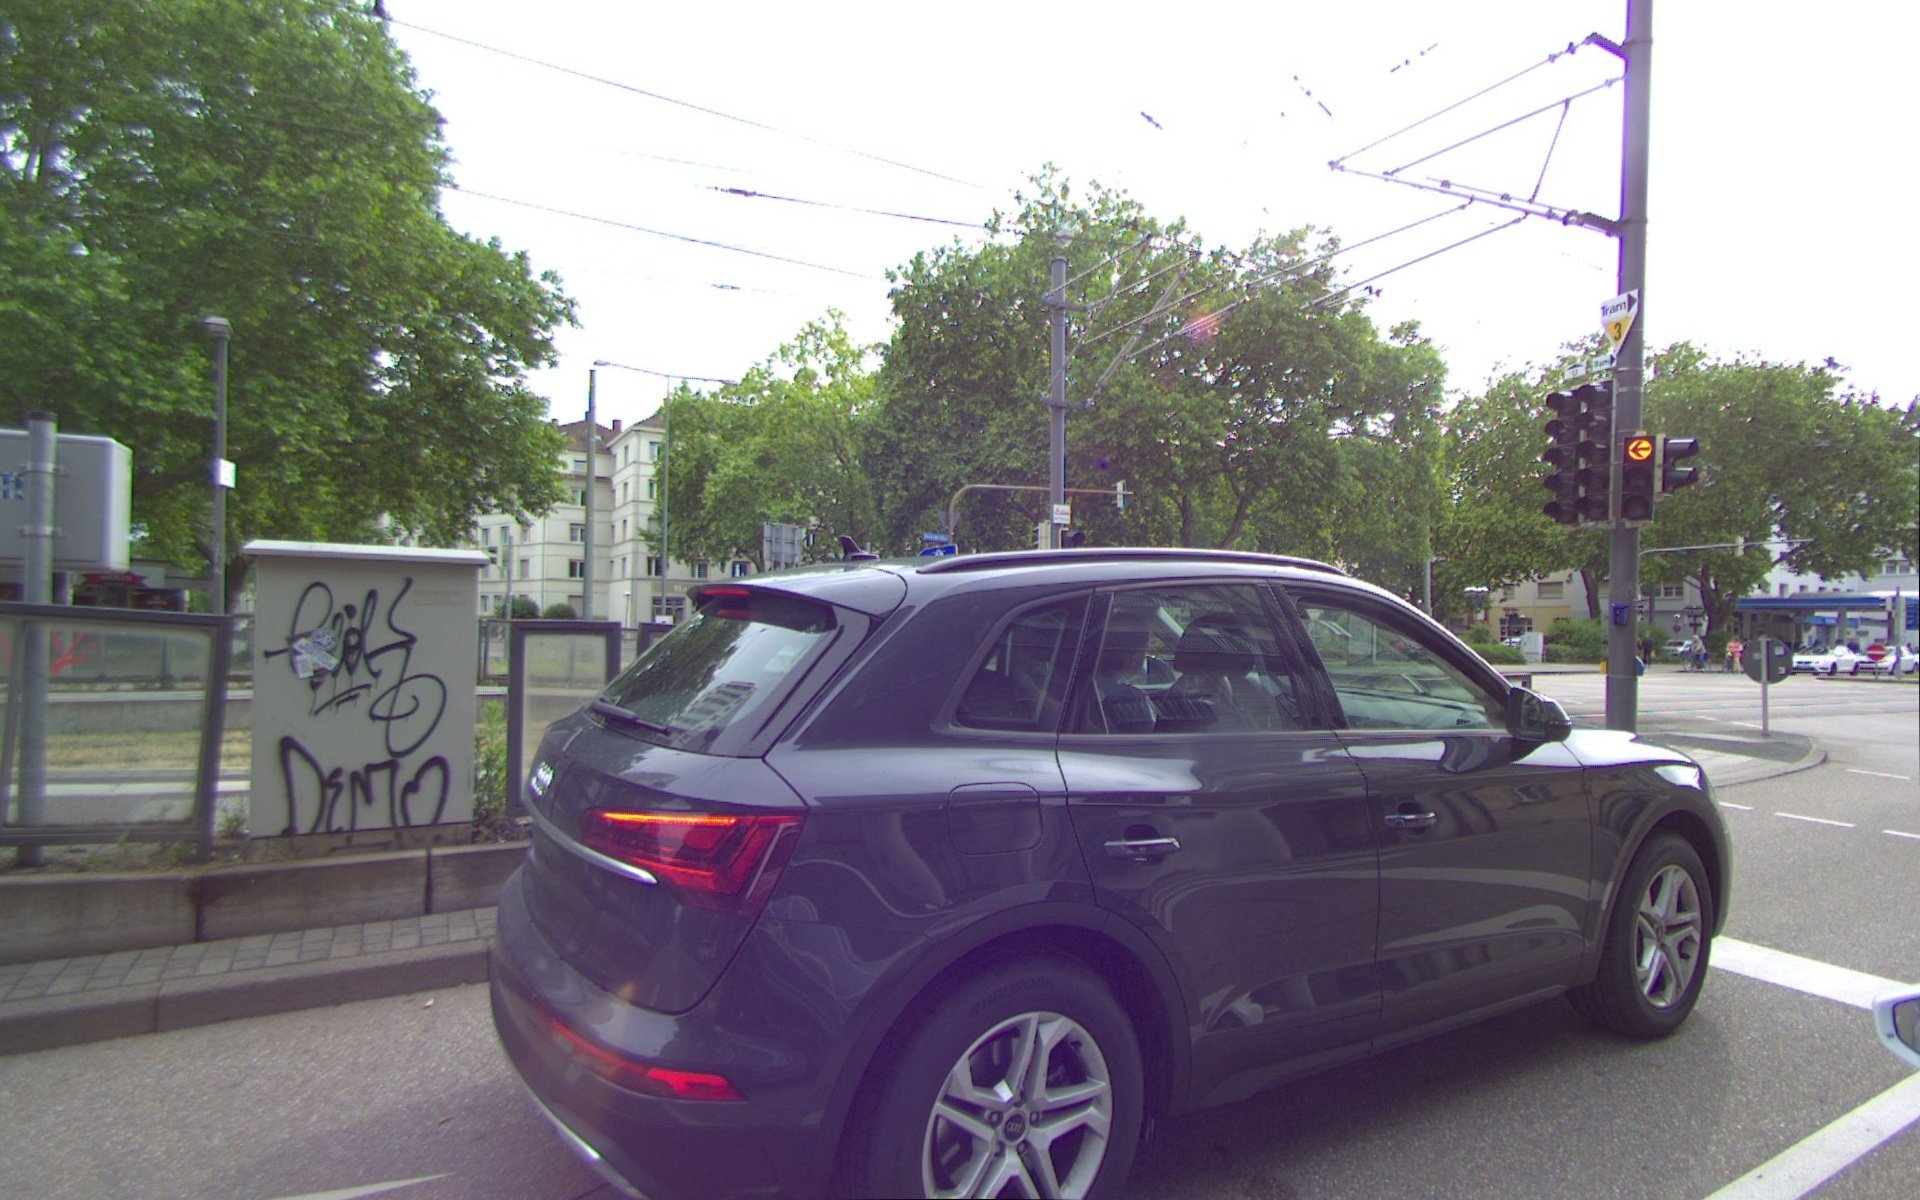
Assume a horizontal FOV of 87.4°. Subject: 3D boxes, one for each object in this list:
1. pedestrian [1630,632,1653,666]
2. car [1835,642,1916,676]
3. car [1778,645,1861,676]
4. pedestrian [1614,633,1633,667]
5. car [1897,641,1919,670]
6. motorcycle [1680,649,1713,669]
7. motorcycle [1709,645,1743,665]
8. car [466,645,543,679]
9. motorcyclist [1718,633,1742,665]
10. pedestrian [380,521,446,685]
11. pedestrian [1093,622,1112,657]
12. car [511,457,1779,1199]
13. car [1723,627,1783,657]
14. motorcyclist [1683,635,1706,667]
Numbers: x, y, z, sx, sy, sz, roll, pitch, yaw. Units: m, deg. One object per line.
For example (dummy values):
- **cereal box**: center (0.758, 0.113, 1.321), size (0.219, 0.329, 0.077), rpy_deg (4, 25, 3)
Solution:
- **pedestrian**: center (35.147, 2.520, 51.782), size (0.863, 1.735, 0.870), rpy_deg (0, -1, 41)
- **car**: center (46.985, 3.018, 51.528), size (3.953, 1.615, 1.984), rpy_deg (2, 0, -30)
- **car**: center (41.374, 2.904, 48.337), size (4.025, 1.338, 1.739), rpy_deg (2, 0, -29)
- **pedestrian**: center (34.509, 2.604, 52.247), size (0.681, 1.735, 0.865), rpy_deg (0, -1, 41)
- **car**: center (52.788, 3.030, 54.610), size (3.593, 1.497, 1.649), rpy_deg (2, 0, -29)
- **motorcycle**: center (35.951, 2.856, 49.034), size (1.928, 0.941, 0.604), rpy_deg (2, -1, -30)
- **motorcycle**: center (36.936, 2.663, 48.439), size (1.928, 0.941, 0.604), rpy_deg (2, -1, -30)
- **car**: center (-25.360, 3.396, 55.934), size (3.929, 1.706, 1.996), rpy_deg (0, -1, 31)
- **motorcyclist**: center (37.242, 2.362, 48.578), size (0.863, 1.540, 0.617), rpy_deg (2, -1, -30)
- **pedestrian**: center (-6.854, 0.039, 12.588), size (0.658, 1.976, 0.732), rpy_deg (2, 0, -30)
- **pedestrian**: center (6.174, 1.708, 43.559), size (0.644, 1.530, 0.683), rpy_deg (1, -1, -3)
- **car**: center (0.834, 0.645, 3.464), size (4.177, 1.658, 1.725), rpy_deg (2, 0, -30)
- **car**: center (54.868, 2.895, 69.487), size (3.953, 2.040, 1.984), rpy_deg (2, -1, -30)
- **motorcyclist**: center (35.810, 2.477, 48.952), size (0.863, 1.540, 0.617), rpy_deg (2, -1, -30)
